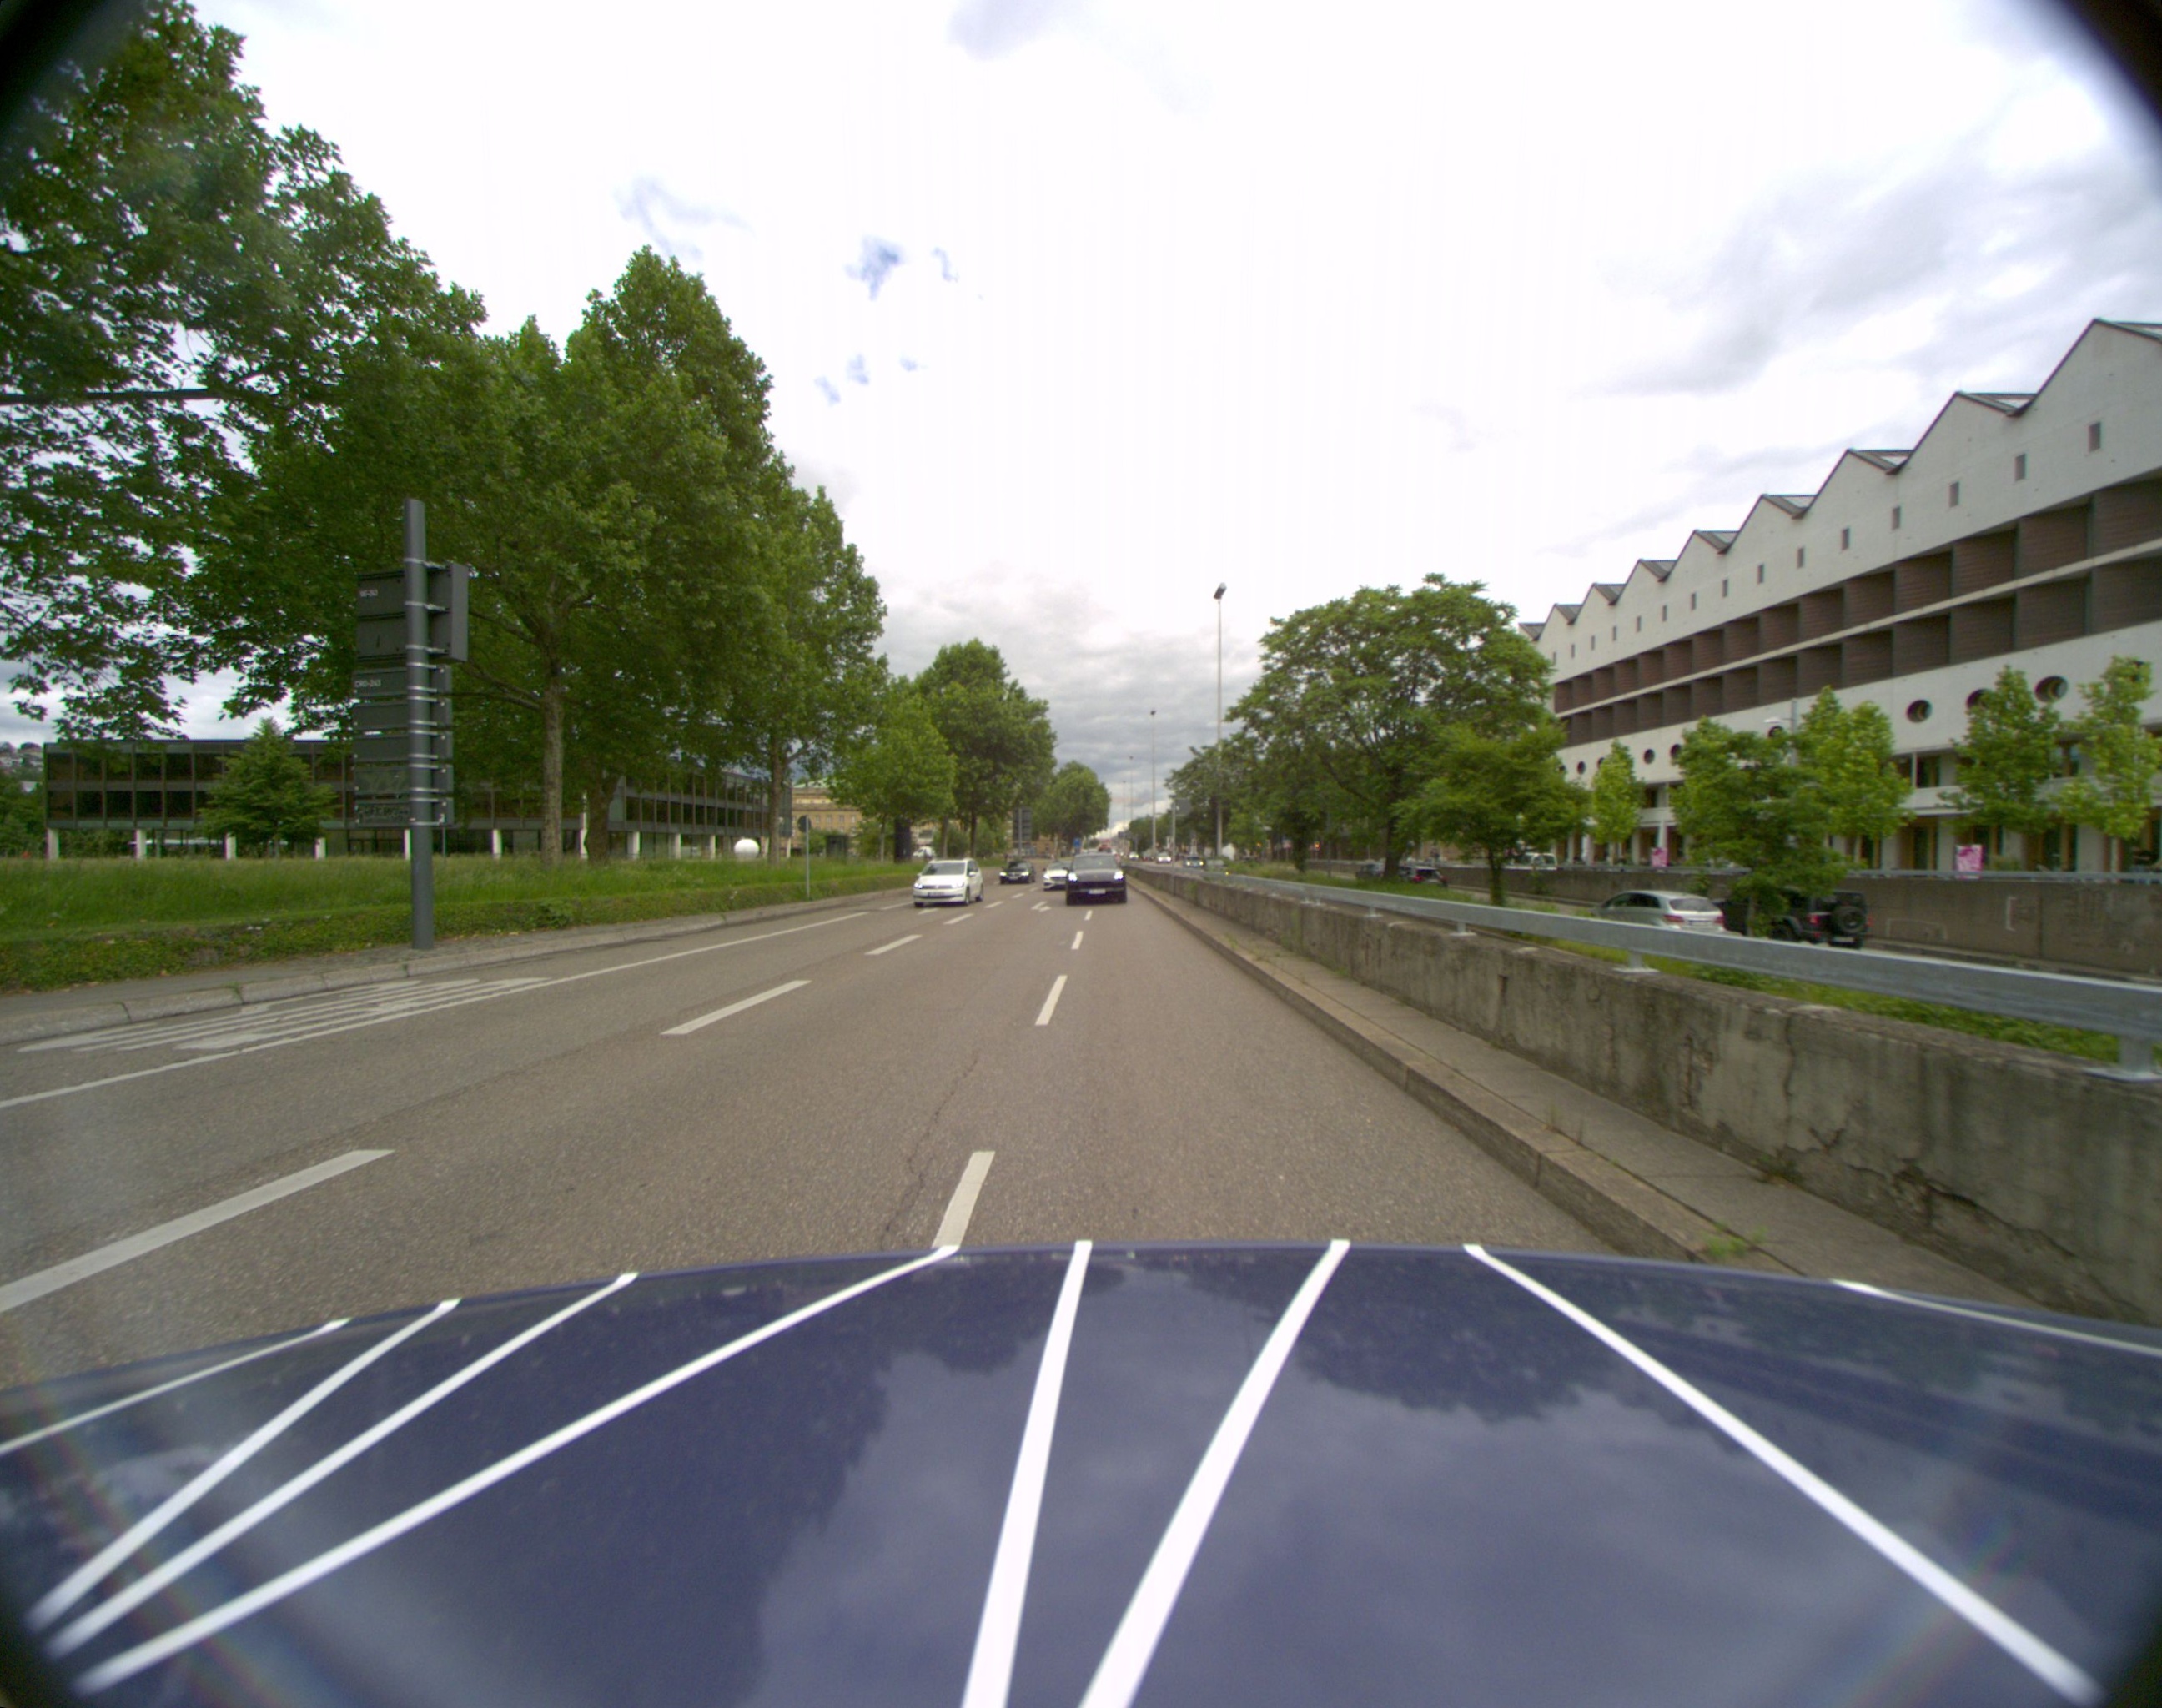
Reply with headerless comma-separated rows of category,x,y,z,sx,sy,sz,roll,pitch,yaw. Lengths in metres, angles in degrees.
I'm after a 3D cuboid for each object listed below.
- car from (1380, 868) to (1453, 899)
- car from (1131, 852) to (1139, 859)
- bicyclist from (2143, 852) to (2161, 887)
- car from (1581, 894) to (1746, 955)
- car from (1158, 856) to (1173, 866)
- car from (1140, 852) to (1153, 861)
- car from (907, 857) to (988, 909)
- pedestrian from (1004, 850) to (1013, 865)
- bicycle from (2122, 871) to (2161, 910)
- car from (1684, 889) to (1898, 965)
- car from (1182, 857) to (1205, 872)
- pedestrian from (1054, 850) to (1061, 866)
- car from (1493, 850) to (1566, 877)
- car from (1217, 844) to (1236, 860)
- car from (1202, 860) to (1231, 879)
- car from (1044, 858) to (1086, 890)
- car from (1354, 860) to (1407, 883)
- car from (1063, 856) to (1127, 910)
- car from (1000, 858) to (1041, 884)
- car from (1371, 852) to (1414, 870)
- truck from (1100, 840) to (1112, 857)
car,17.344,1.483,39.510,1.998,1.390,4.000,3,0,1
car,11.366,0.323,159.907,1.372,1.390,3.722,3,0,1
bicyclist,36.565,0.524,25.682,0.403,1.153,0.643,-2,1,-1
car,17.725,2.098,23.419,1.998,1.390,4.000,3,0,1
car,12.033,1.035,108.842,1.657,1.406,4.092,-1,0,0
car,11.009,0.370,128.578,1.787,1.406,4.092,-1,0,0
car,-4.598,0.945,26.791,1.998,1.630,4.304,-1,0,1
pedestrian,-9.619,0.446,101.075,0.892,2.002,1.181,-2,1,2
bicycle,36.591,1.244,25.699,0.403,1.265,1.699,-2,1,-1
car,20.984,2.090,22.814,2.160,1.635,4.516,2,2,1
car,11.189,1.014,75.909,1.559,1.406,4.091,-1,0,-1
pedestrian,-3.018,0.518,98.499,0.792,2.001,0.741,0,-1,2
car,29.112,0.568,49.502,1.955,1.619,4.490,-1,0,-2
car,17.622,-0.218,92.206,1.609,1.844,4.000,-2,1,2
car,10.627,1.188,60.001,1.559,1.406,4.092,-1,0,0
car,-0.721,0.950,37.656,1.799,1.411,4.528,-1,0,3
car,20.726,1.205,52.736,1.999,1.390,3.999,3,0,-2
car,0.555,0.885,25.179,1.904,1.580,4.733,-1,0,3
car,-3.790,1.017,48.053,1.936,1.451,4.527,-2,1,3
car,28.526,0.634,69.830,1.955,1.619,4.490,-1,0,-2
truck,5.435,-1.157,163.748,2.357,3.517,9.425,-2,1,2
